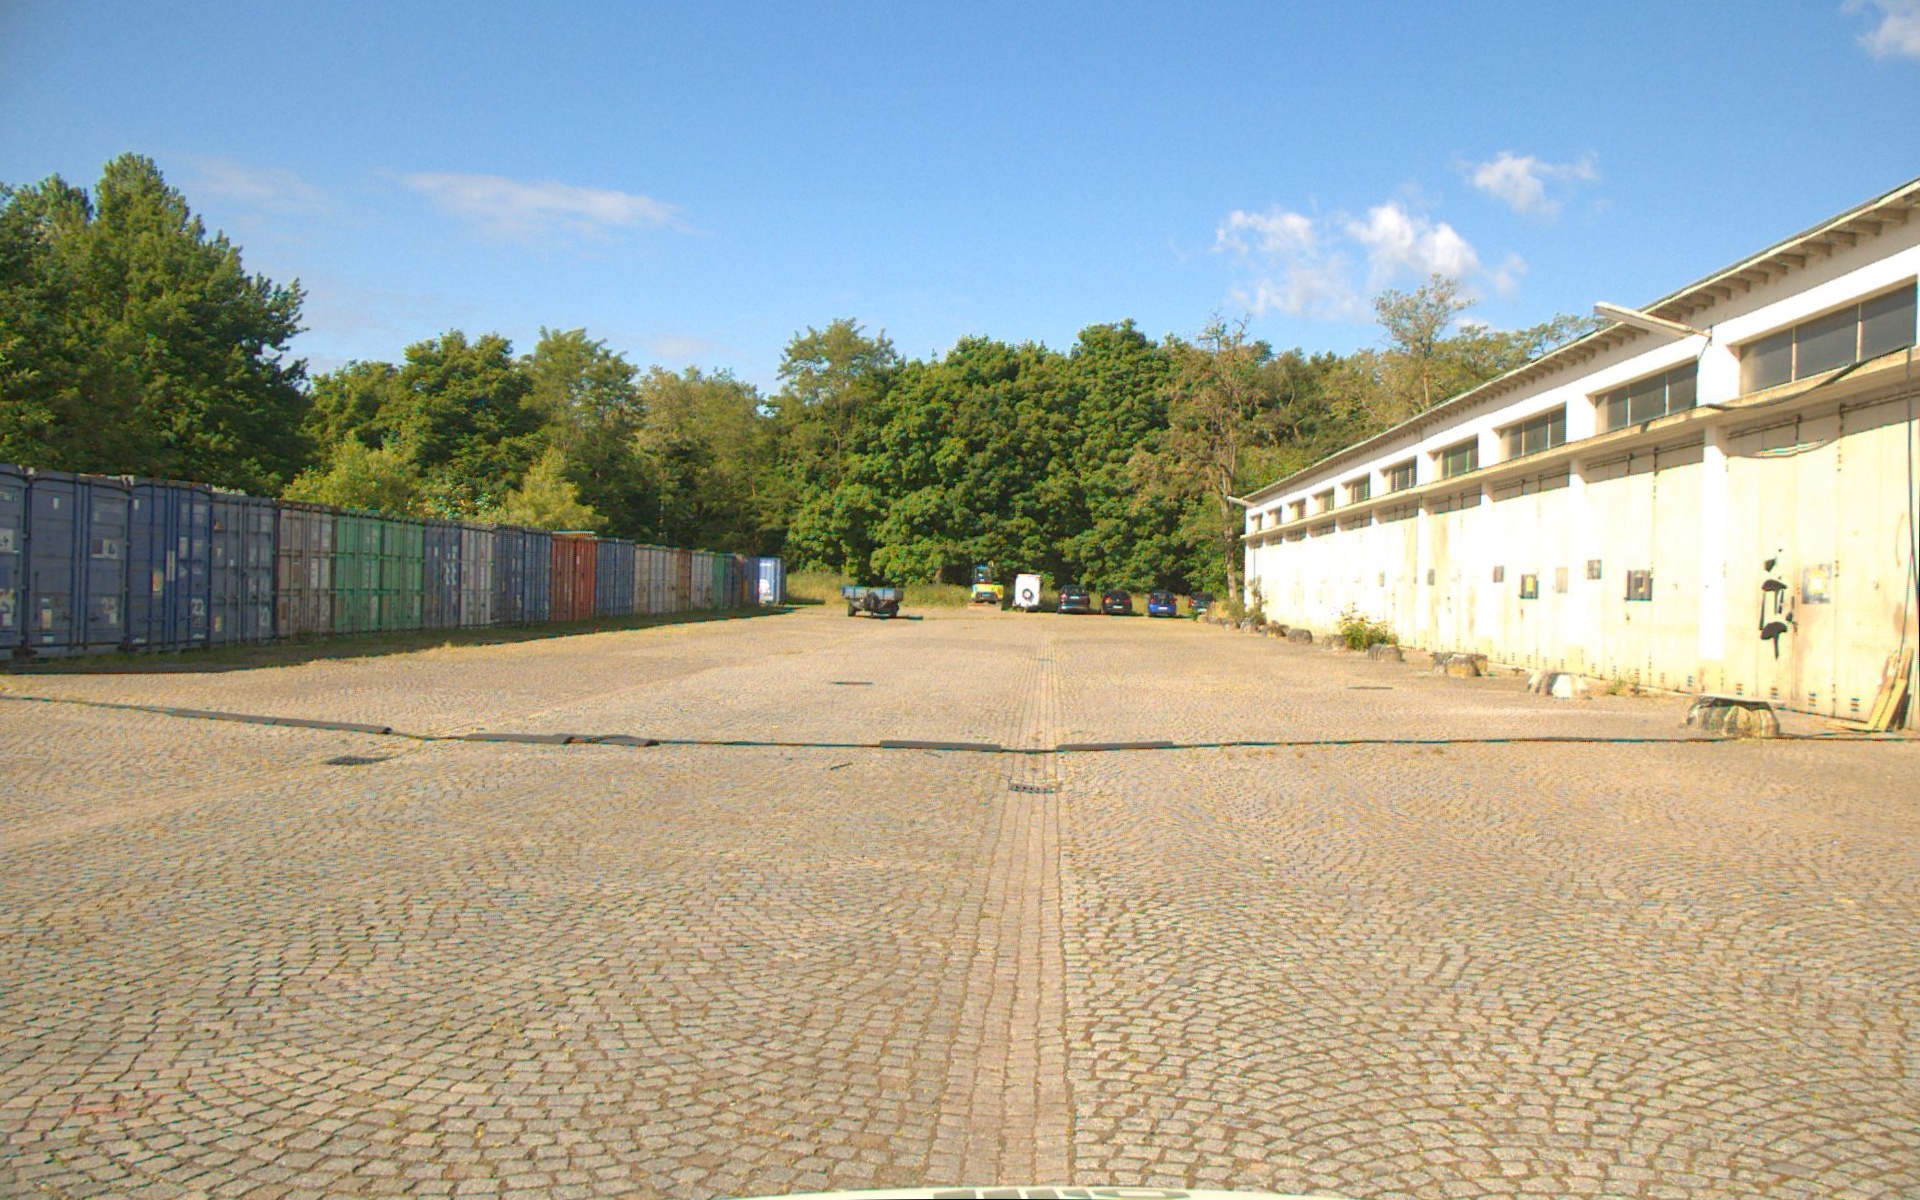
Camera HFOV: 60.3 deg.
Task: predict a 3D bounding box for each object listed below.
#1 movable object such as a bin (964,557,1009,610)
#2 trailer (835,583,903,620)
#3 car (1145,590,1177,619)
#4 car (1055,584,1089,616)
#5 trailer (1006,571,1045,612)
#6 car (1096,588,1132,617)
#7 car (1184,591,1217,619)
[{"bbox_3d":[1.599,-1.028,98.130,2.258,2.947,5.754,3,2,4],"label":"movable object such as a bin"},{"bbox_3d":[-4.211,0.035,77.706,2.649,1.491,6.249,3,1,1],"label":"trailer"},{"bbox_3d":[11.551,0.236,94.969,1.707,1.461,4.187,3,2,8],"label":"car"},{"bbox_3d":[6.398,-0.033,94.918,1.825,1.616,4.298,3,2,3],"label":"car"},{"bbox_3d":[3.886,-0.536,97.424,2.147,2.131,5.754,3,2,3],"label":"trailer"},{"bbox_3d":[8.849,0.120,95.165,1.825,1.495,4.298,3,2,3],"label":"car"},{"bbox_3d":[14.022,0.285,96.258,1.707,1.461,4.187,3,2,10],"label":"car"}]
